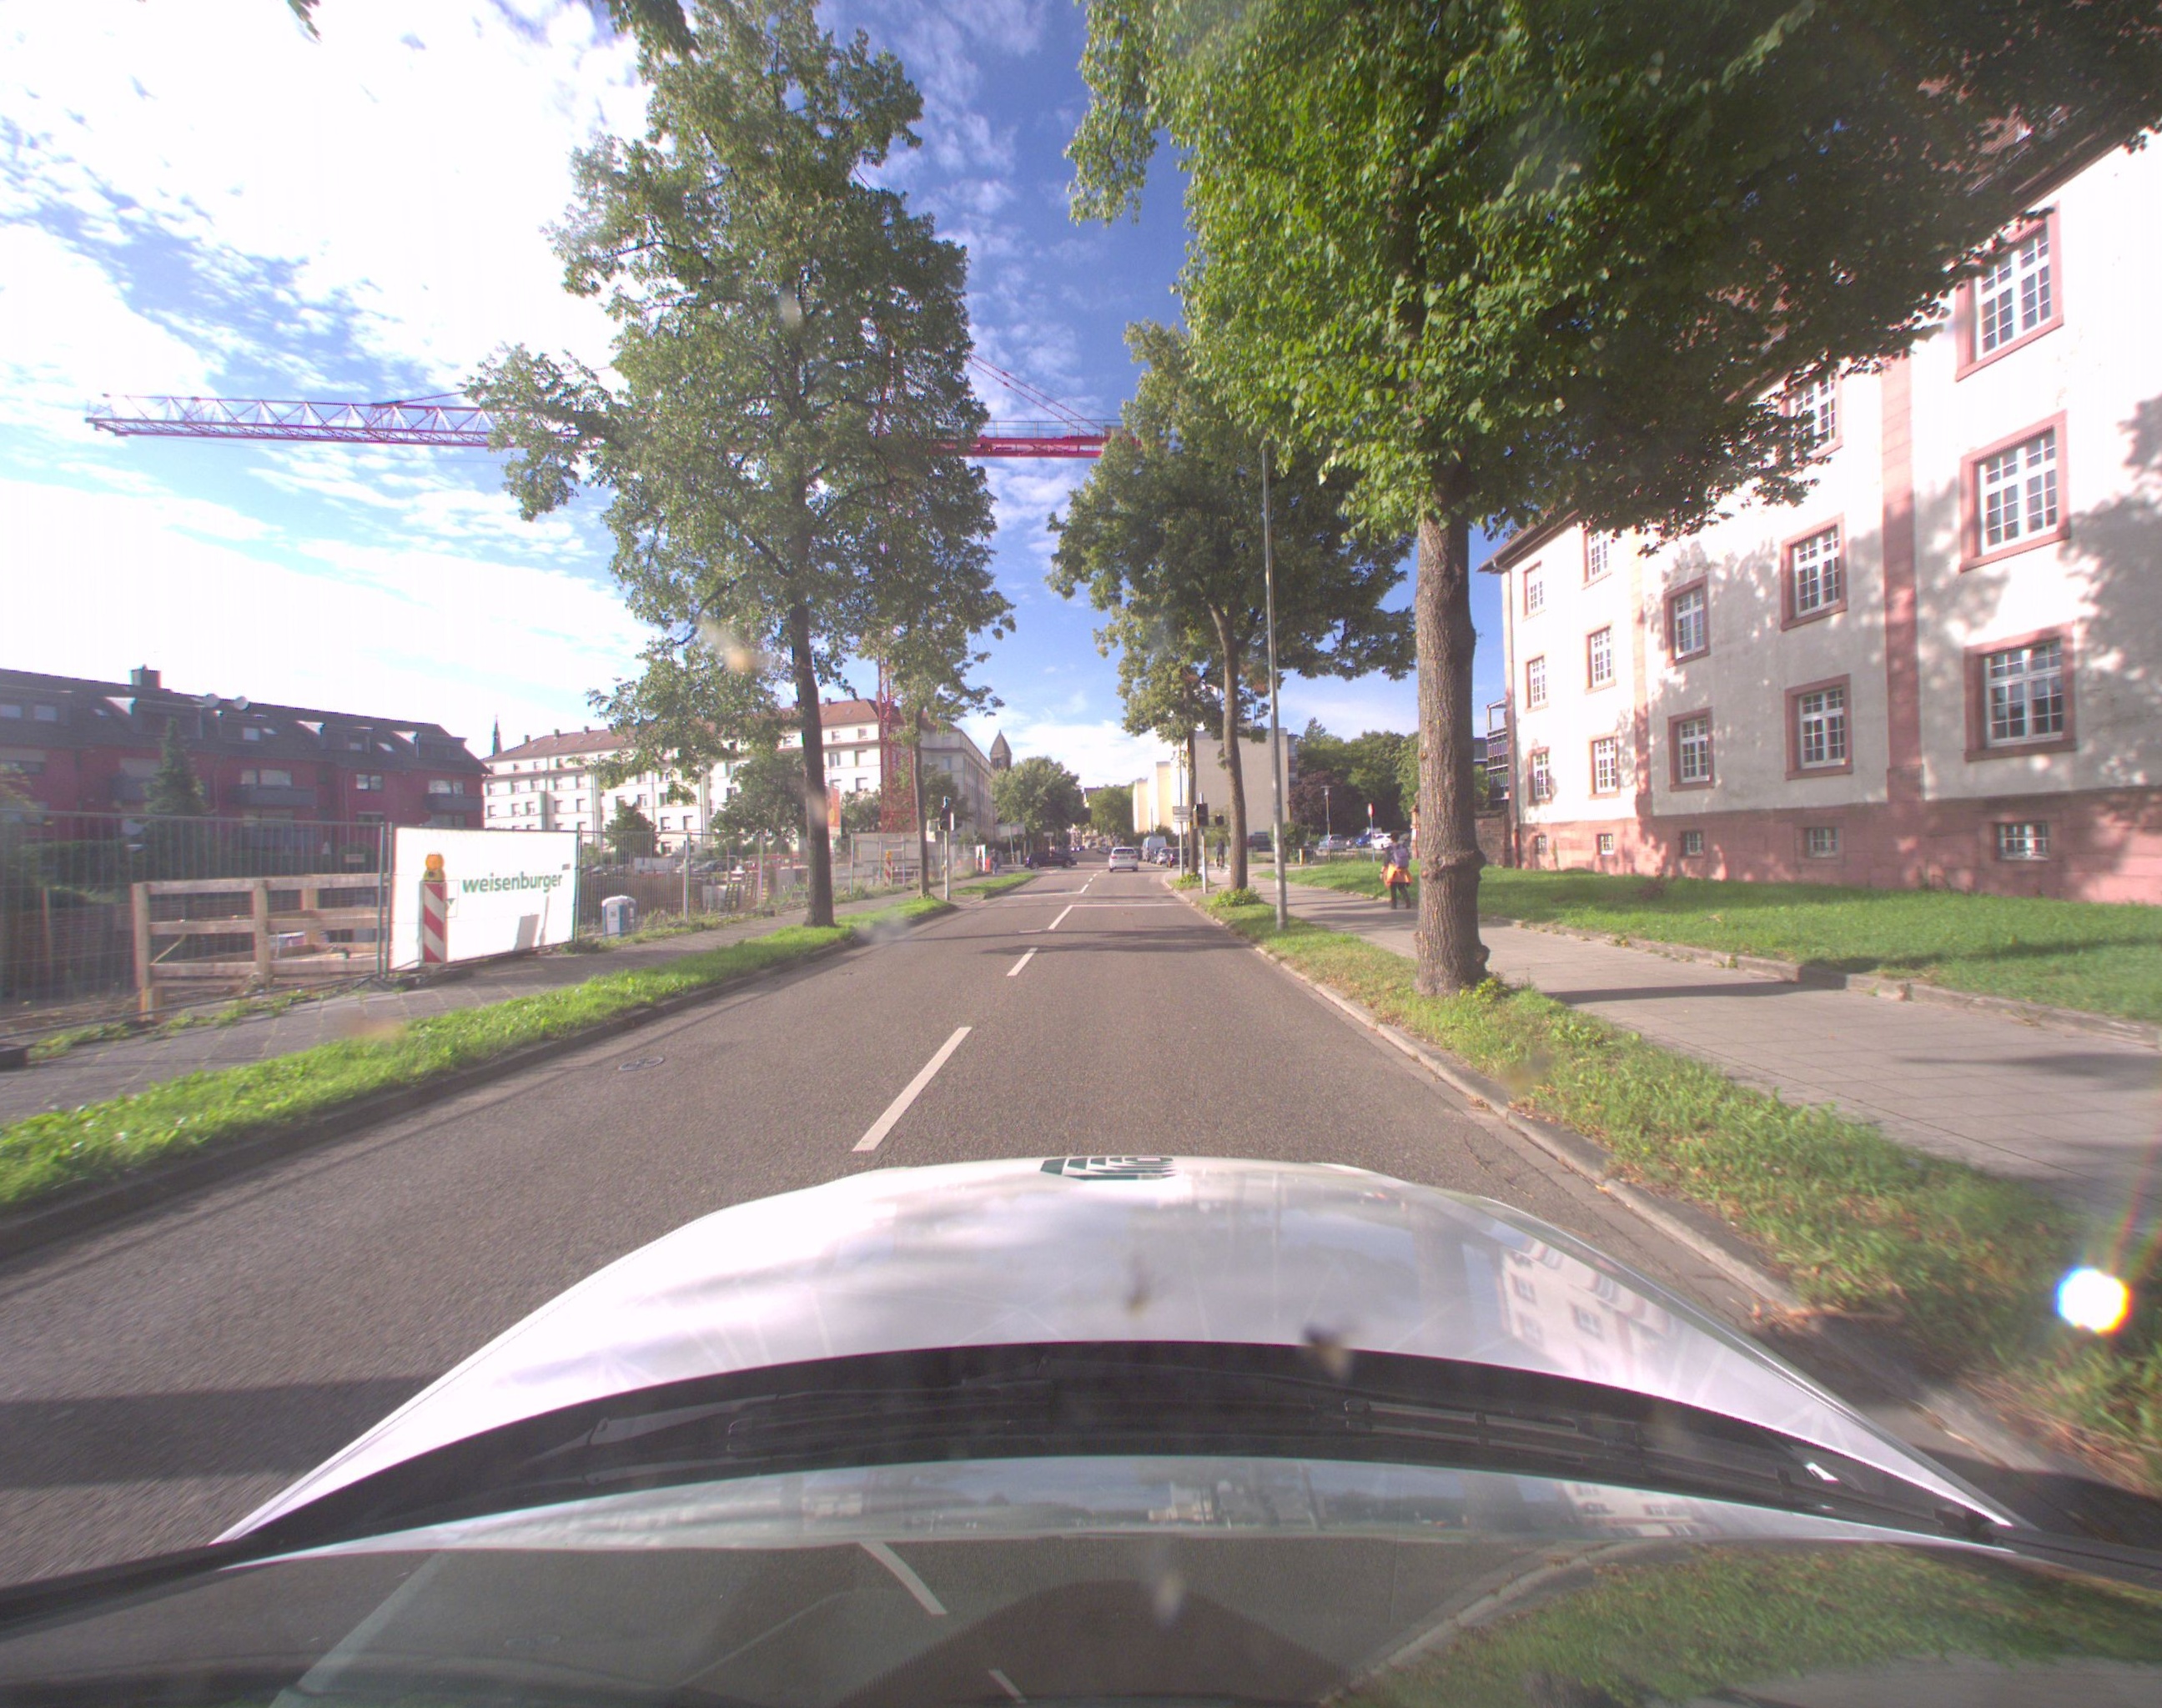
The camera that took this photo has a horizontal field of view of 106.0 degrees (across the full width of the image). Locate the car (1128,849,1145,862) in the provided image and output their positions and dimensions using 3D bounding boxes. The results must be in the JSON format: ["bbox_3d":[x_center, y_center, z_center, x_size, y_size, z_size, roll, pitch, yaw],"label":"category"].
[{"bbox_3d":[7.107,0.189,104.683,1.986,1.574,4.001,-3,1,1],"label":"car"}]

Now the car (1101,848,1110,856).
[{"bbox_3d":[5.742,-0.441,191.630,1.985,1.755,4.003,-1,0,3],"label":"car"}]

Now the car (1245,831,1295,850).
[{"bbox_3d":[18.001,-1.292,77.823,4.426,1.621,2.003,-3,0,5],"label":"car"}]

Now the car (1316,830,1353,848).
[{"bbox_3d":[22.216,-1.303,71.544,1.987,1.442,3.999,-3,1,0],"label":"car"}]

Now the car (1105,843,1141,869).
[{"bbox_3d":[2.652,0.139,52.144,1.988,1.555,4.272,-1,0,-1],"label":"car"}]

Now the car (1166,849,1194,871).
[{"bbox_3d":[7.308,0.408,60.395,1.710,1.496,4.272,-2,0,3],"label":"car"}]

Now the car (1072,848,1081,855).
[{"bbox_3d":[-1.132,-0.694,214.721,2.052,1.663,3.921,-3,1,-4],"label":"car"}]

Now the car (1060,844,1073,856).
[{"bbox_3d":[-2.636,-0.658,146.410,1.986,2.013,4.001,-3,1,1],"label":"car"}]

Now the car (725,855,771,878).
[{"bbox_3d":[-32.644,1.183,80.035,1.978,2.013,4.019,-3,0,17],"label":"car"}]

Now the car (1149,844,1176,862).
[{"bbox_3d":[7.666,-0.116,76.901,1.988,1.615,4.406,-3,1,-1],"label":"car"}]

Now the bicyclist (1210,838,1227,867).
[{"bbox_3d":[7.519,-0.085,44.553,0.734,1.513,0.875,-4,0,2],"label":"bicyclist"}]

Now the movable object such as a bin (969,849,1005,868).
[{"bbox_3d":[-8.832,0.389,76.614,3.080,1.708,1.416,-1,0,15],"label":"movable object such as a bin"}]

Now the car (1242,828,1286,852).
[{"bbox_3d":[18.849,-1.452,83.910,4.099,2.186,2.003,-3,0,5],"label":"car"}]

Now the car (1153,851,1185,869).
[{"bbox_3d":[7.721,0.531,71.764,2.010,1.475,4.798,-3,0,-2],"label":"car"}]

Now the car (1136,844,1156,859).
[{"bbox_3d":[7.483,-0.262,94.048,1.986,1.574,4.001,-3,1,1],"label":"car"}]

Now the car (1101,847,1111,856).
[{"bbox_3d":[5.344,-0.502,170.813,1.985,1.755,4.003,-1,0,3],"label":"car"}]

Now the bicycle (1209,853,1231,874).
[{"bbox_3d":[7.573,0.521,44.561,0.737,1.034,2.763,-4,0,2],"label":"bicycle"}]

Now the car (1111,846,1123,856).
[{"bbox_3d":[6.204,-0.559,142.253,1.986,1.574,4.001,-3,1,1],"label":"car"}]

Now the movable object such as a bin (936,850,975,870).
[{"bbox_3d":[-11.127,0.485,72.261,3.079,1.708,1.554,-1,0,16],"label":"movable object such as a bin"}]

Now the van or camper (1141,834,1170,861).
[{"bbox_3d":[7.516,-0.675,83.105,2.203,2.607,5.368,-3,1,-2],"label":"van or camper"}]

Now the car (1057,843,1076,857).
[{"bbox_3d":[-1.811,-0.479,99.746,1.990,1.640,3.994,-3,1,-4],"label":"car"}]

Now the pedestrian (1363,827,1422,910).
[{"bbox_3d":[6.392,0.289,16.733,0.811,1.590,0.769,-4,0,1],"label":"pedestrian"}]

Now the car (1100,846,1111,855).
[{"bbox_3d":[4.863,-0.691,160.738,1.985,1.755,4.003,-1,0,3],"label":"car"}]

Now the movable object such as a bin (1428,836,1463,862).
[{"bbox_3d":[18.026,-0.258,40.326,1.187,1.231,1.092,-2,0,-1],"label":"movable object such as a bin"}]

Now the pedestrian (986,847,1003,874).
[{"bbox_3d":[-5.694,0.441,53.818,1.007,1.728,1.174,-2,-1,-10],"label":"pedestrian"}]

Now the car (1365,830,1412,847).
[{"bbox_3d":[31.034,-1.577,82.296,3.973,1.486,2.001,-3,0,1],"label":"car"}]

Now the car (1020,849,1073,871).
[{"bbox_3d":[-2.779,0.460,65.315,3.992,1.570,1.991,-1,0,-14],"label":"car"}]

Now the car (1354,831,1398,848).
[{"bbox_3d":[31.623,-1.542,87.409,3.973,1.552,2.001,-3,0,1],"label":"car"}]

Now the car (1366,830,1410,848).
[{"bbox_3d":[26.720,-1.302,71.059,1.990,1.442,3.993,-3,1,-5],"label":"car"}]
